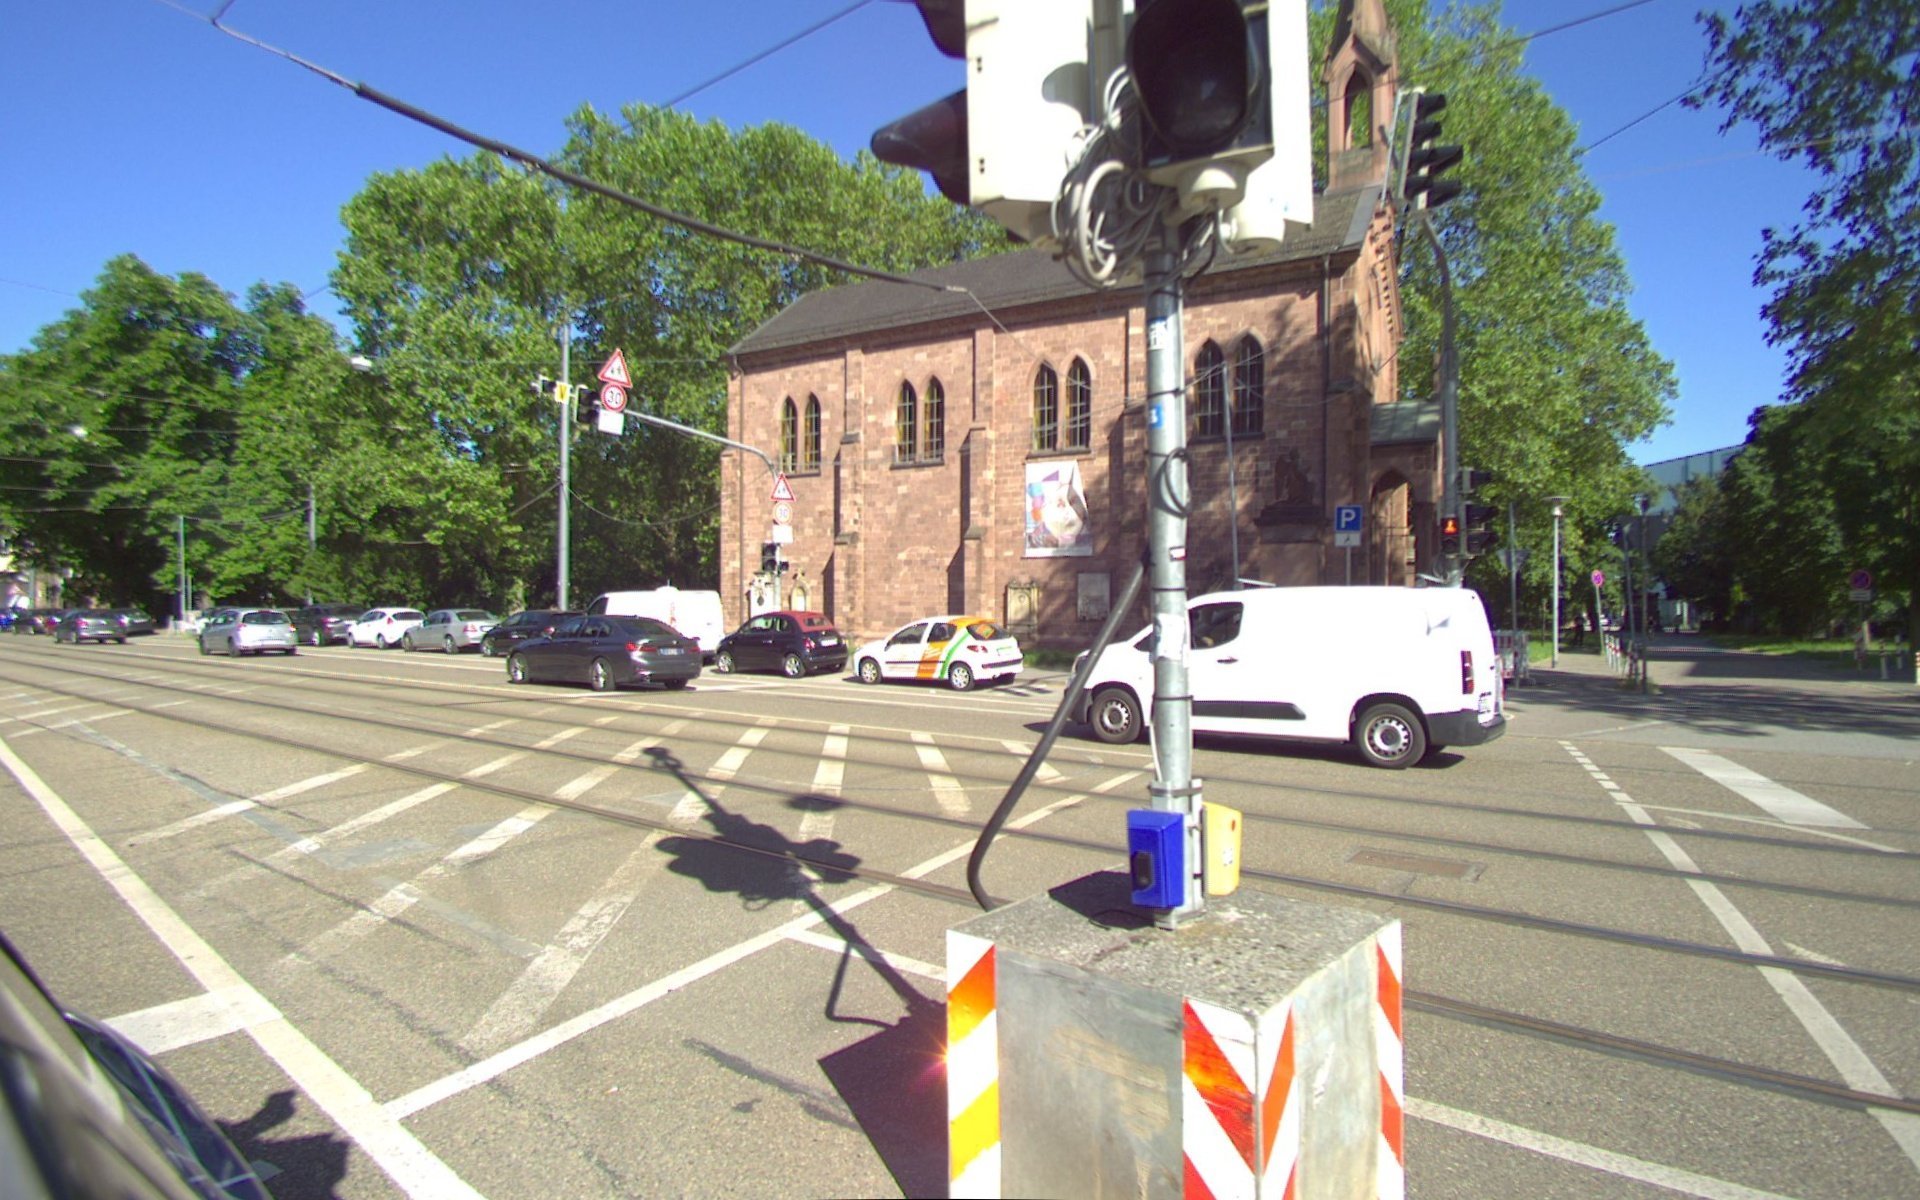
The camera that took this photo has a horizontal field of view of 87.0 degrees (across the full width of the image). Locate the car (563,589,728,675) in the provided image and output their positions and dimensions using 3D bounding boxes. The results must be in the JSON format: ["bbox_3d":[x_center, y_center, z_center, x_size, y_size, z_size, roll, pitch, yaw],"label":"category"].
[{"bbox_3d":[-8.494,0.817,27.157,4.584,2.113,1.898,0,-1,36],"label":"car"}]

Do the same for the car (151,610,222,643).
[{"bbox_3d":[-38.281,1.272,50.055,4.301,1.563,1.773,-1,-1,38],"label":"car"}]

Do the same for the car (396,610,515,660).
[{"bbox_3d":[-16.787,1.110,33.613,4.299,1.563,1.774,0,-1,37],"label":"car"}]

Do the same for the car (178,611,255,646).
[{"bbox_3d":[-34.402,1.295,46.779,4.301,1.563,1.773,-1,-1,38],"label":"car"}]

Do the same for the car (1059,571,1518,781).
[{"bbox_3d":[3.567,0.719,11.333,4.507,1.905,2.043,0,-1,35],"label":"car"}]

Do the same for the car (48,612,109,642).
[{"bbox_3d":[-48.606,1.456,55.774,4.301,1.563,1.773,-1,-1,38],"label":"car"}]

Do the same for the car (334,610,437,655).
[{"bbox_3d":[-21.020,1.145,36.949,4.301,1.563,1.773,-1,-1,38],"label":"car"}]

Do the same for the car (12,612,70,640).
[{"bbox_3d":[-52.605,1.453,57.897,4.301,1.563,1.773,-1,-1,38],"label":"car"}]

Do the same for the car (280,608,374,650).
[{"bbox_3d":[-24.925,1.121,39.778,4.301,1.563,1.773,-1,-1,38],"label":"car"}]

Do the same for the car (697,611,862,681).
[{"bbox_3d":[-4.362,1.043,24.290,3.854,1.563,1.774,0,-1,37],"label":"car"}]

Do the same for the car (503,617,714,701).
[{"bbox_3d":[-6.856,1.051,19.574,4.370,1.440,1.776,-1,-1,38],"label":"car"}]

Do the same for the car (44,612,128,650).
[{"bbox_3d":[-35.767,1.233,41.396,4.370,1.440,1.776,-1,-1,38],"label":"car"}]

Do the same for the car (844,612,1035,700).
[{"bbox_3d":[-0.467,1.098,21.181,3.671,1.585,1.758,-1,2,37],"label":"car"}]

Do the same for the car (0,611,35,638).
[{"bbox_3d":[-57.927,1.462,61.538,4.301,1.563,1.773,-1,-1,38],"label":"car"}]

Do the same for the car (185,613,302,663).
[{"bbox_3d":[-22.288,1.127,31.422,4.370,1.440,1.776,-1,-1,38],"label":"car"}]

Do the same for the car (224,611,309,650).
[{"bbox_3d":[-29.752,1.275,43.378,4.301,1.563,1.773,-1,-1,38],"label":"car"}]

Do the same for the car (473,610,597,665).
[{"bbox_3d":[-12.881,1.087,30.595,3.854,1.563,1.774,0,-1,37],"label":"car"}]
